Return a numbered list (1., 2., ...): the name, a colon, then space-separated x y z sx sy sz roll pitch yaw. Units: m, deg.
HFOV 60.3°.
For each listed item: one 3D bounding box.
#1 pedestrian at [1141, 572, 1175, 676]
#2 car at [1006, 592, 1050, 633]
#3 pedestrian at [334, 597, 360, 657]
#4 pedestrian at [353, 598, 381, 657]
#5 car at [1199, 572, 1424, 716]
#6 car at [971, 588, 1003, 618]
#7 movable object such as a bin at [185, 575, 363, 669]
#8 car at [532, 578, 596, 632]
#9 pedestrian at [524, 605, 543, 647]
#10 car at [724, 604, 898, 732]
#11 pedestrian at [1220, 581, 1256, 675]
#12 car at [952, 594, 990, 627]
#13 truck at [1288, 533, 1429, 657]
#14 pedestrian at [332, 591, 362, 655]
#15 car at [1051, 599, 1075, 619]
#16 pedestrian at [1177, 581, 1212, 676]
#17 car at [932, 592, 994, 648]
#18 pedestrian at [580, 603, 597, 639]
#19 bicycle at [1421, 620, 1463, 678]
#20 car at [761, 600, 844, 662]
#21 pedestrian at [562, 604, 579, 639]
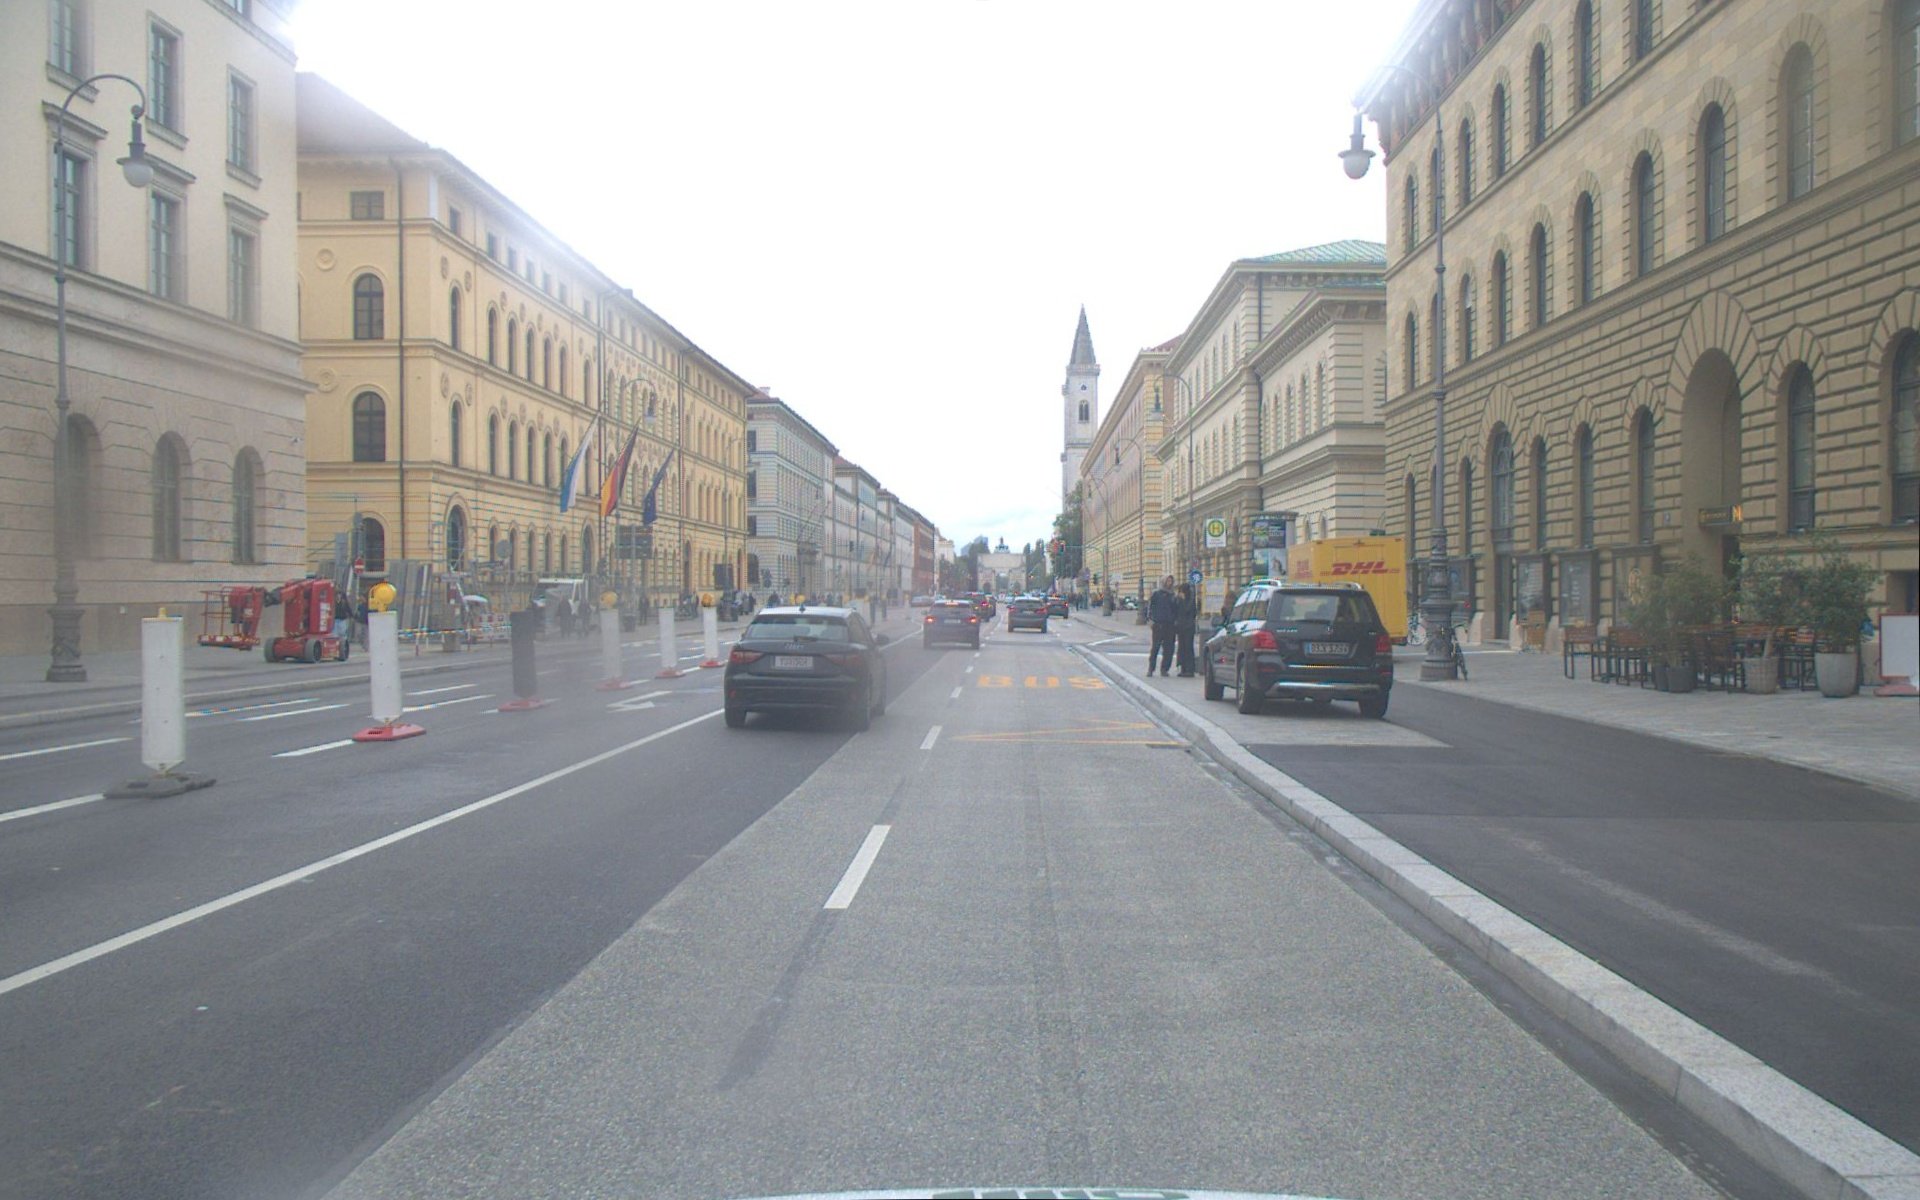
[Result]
1. pedestrian: 3.666 0.453 30.655 0.602 1.908 0.541 0 -1 6
2. car: 3.152 0.570 76.427 1.952 1.803 4.001 -1 0 2
3. pedestrian: -17.729 0.785 47.849 0.541 1.705 0.617 0 -1 -2
4. pedestrian: -17.157 0.803 47.867 0.599 1.681 0.617 0 -1 -2
5. car: 4.495 0.527 21.805 2.026 1.691 4.222 1 0 -1
6. car: 1.745 0.182 105.170 1.952 1.803 4.001 -1 0 2
7. movable object such as a bin: -15.984 0.526 38.933 1.479 2.049 5.977 0 -1 2
8. car: -17.391 0.239 72.798 1.702 2.329 4.001 0 -1 2
9. pedestrian: -16.052 0.973 62.232 0.541 1.557 0.617 0 -1 -2
10. car: -1.752 0.769 20.616 1.825 1.412 3.999 1 0 -1
11. pedestrian: 5.190 0.526 30.879 0.602 1.732 0.541 0 -1 5
12. car: 0.638 0.554 92.893 1.952 1.803 4.001 -1 0 2
13. truck: 9.638 -0.063 40.546 2.567 2.813 5.810 0 -1 6
14. pedestrian: -18.733 0.704 50.547 0.665 1.965 0.652 0 -1 -2
15. car: 8.251 0.736 132.527 1.821 1.606 4.001 0 -1 2
16. pedestrian: 4.322 0.531 30.538 0.602 1.732 0.541 0 -1 5
17. car: 0.120 0.633 51.114 1.732 1.645 4.001 0 -1 2
18. pedestrian: -15.002 0.861 66.775 0.528 1.435 0.617 0 -1 -1
19. bicycle: 8.787 0.884 30.190 0.507 1.040 1.651 0 -1 9
20. car: -4.324 0.852 45.897 1.732 1.645 4.001 0 -1 2
21. pedestrian: -15.741 0.875 66.851 0.528 1.431 0.617 0 -1 -1
